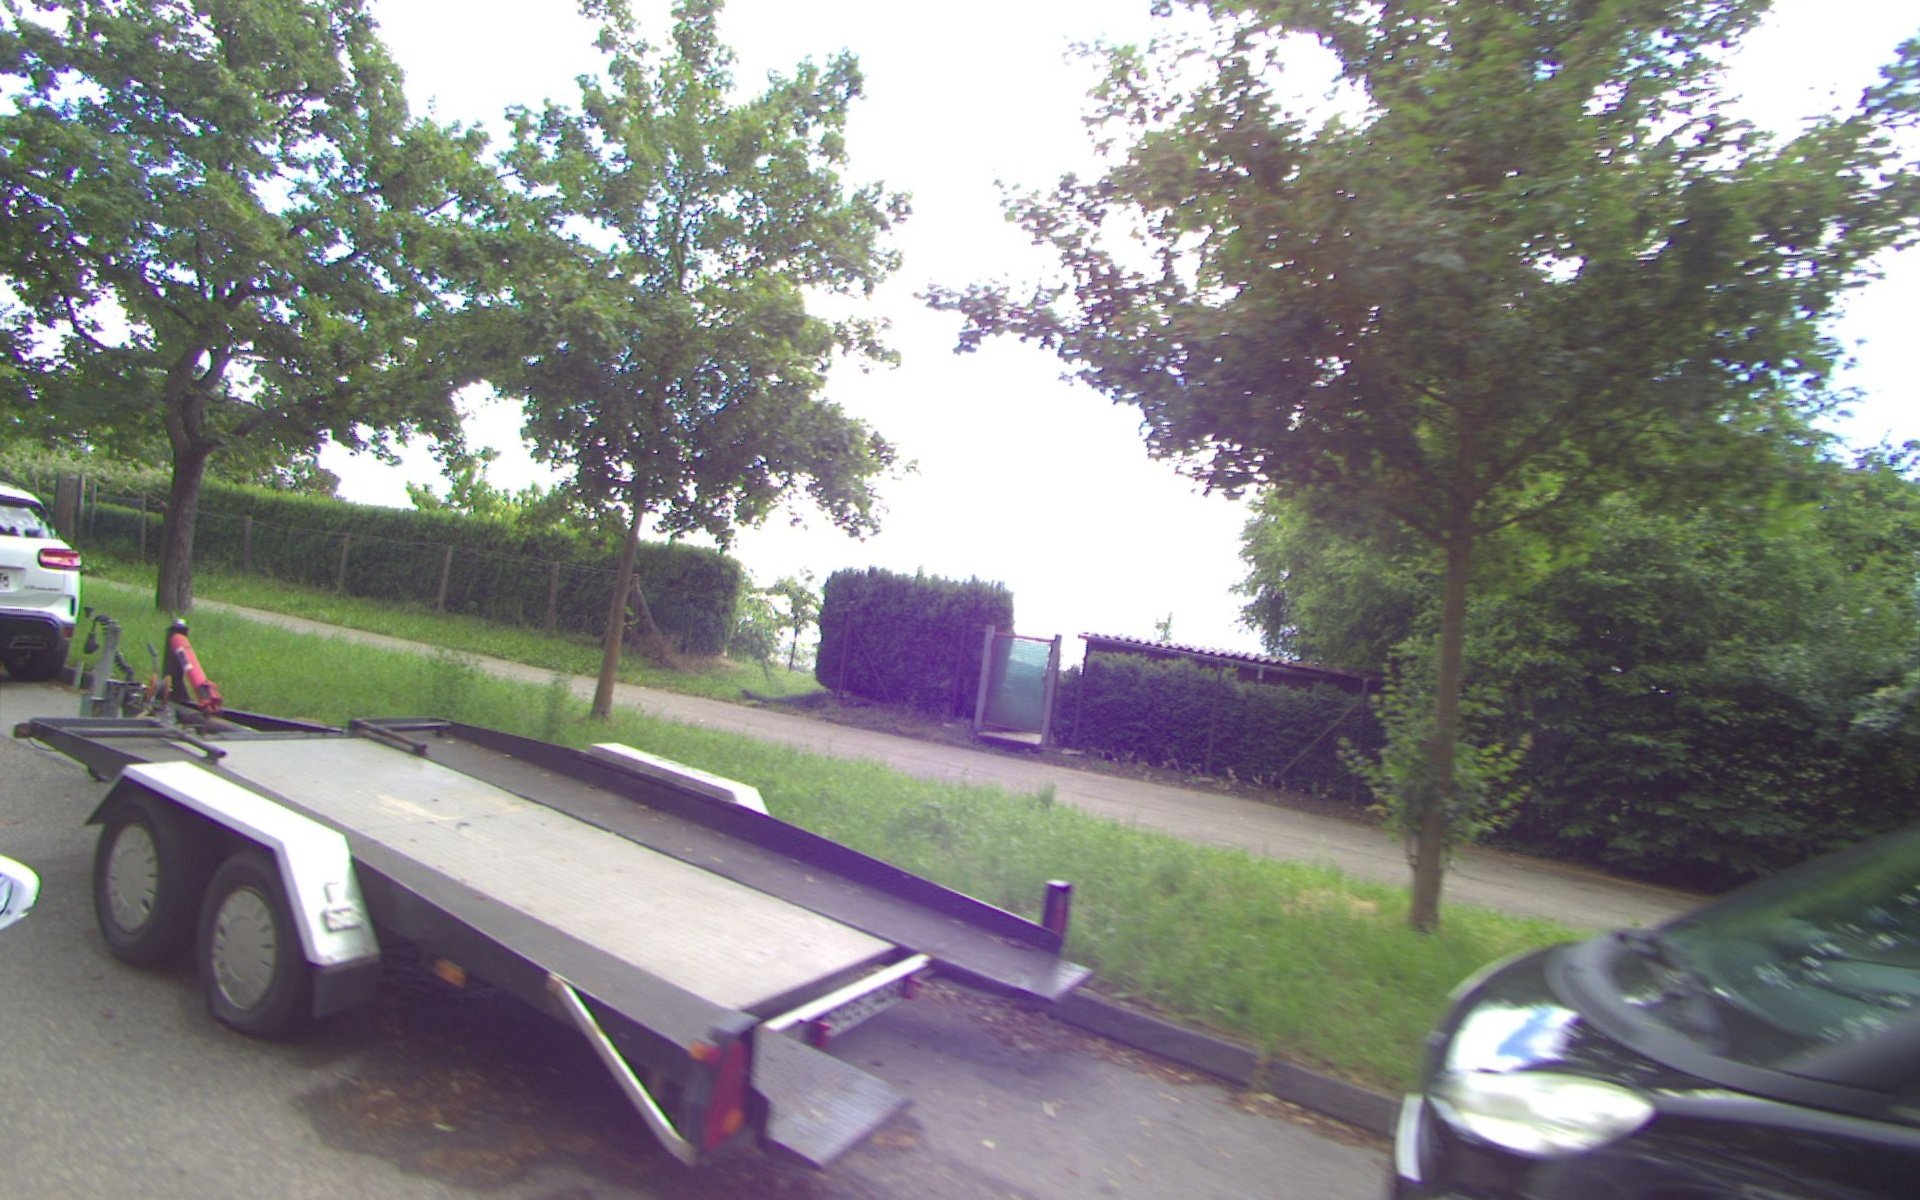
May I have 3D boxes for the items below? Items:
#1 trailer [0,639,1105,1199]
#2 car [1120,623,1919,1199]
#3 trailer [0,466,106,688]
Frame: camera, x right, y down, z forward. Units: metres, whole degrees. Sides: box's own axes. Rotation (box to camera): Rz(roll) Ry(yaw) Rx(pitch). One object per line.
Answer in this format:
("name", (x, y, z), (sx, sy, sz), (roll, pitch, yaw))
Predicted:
("trailer", (-2.695, 0.903, 4.551), (6.290, 0.658, 2.112), (7, -4, 28))
("car", (2.218, 1.059, 1.902), (3.348, 1.539, 1.734), (6, -4, 30))
("trailer", (-9.773, -0.414, 8.727), (4.567, 1.751, 1.777), (6, -1, 25))
